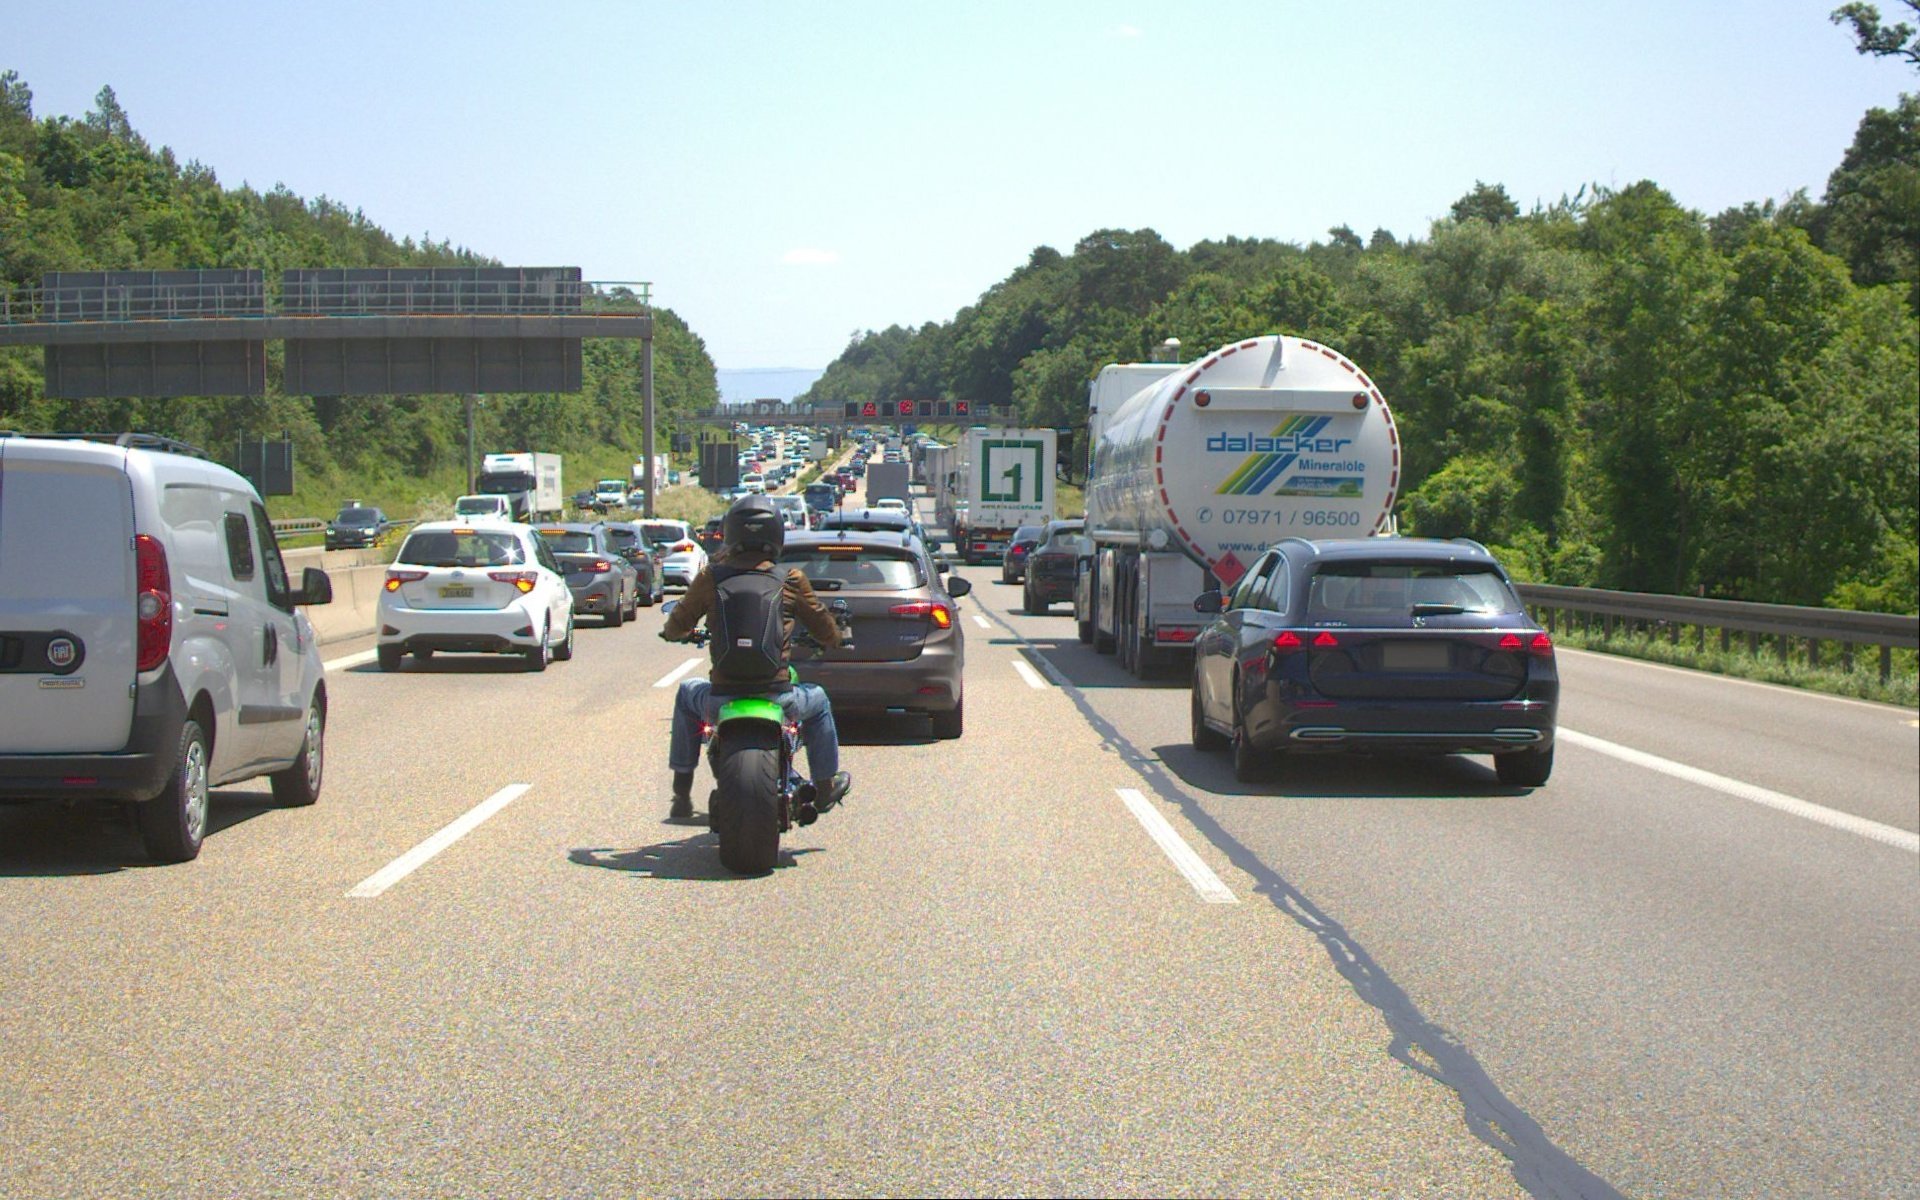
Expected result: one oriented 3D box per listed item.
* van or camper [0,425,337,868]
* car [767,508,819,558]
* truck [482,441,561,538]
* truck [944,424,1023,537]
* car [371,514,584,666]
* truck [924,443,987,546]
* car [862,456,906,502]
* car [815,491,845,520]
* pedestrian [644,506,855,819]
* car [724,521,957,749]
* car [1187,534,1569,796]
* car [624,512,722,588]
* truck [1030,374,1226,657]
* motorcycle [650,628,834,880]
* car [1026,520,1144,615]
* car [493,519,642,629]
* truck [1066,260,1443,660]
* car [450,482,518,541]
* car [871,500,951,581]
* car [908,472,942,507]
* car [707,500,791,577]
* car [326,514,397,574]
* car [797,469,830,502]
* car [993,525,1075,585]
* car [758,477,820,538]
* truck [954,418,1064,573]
[{"bbox_3d":[-4.264,0.184,16.724,1.796,1.886,4.160,0,0,-1],"label":"van or camper"},{"bbox_3d":[-7.211,-2.888,148.722,1.993,2.007,4.000,-2,0,-1],"label":"car"},{"bbox_3d":[-22.098,-5.527,173.774,2.765,4.724,10.472,0,1,-1],"label":"truck"},{"bbox_3d":[0.927,-4.978,144.942,3.033,4.527,9.983,1,1,-1],"label":"truck"},{"bbox_3d":[-4.944,-0.147,35.655,1.699,1.473,4.000,0,1,-1],"label":"car"},{"bbox_3d":[-0.271,-5.395,176.837,3.033,5.122,9.983,1,1,-1],"label":"truck"},{"bbox_3d":[-4.336,-6.925,197.056,2.504,2.578,5.017,0,1,-1],"label":"car"},{"bbox_3d":[-9.027,-6.552,239.528,1.993,2.007,4.000,0,1,-1],"label":"car"},{"bbox_3d":[-0.950,0.271,15.749,0.849,1.357,0.961,-2,1,0],"label":"pedestrian"},{"bbox_3d":[-0.879,0.210,25.608,1.532,1.504,4.000,-2,1,-2],"label":"car"},{"bbox_3d":[2.501,0.328,21.467,1.828,1.465,4.000,0,1,-1],"label":"car"},{"bbox_3d":[-5.753,-1.020,69.261,1.699,1.473,4.000,0,1,-1],"label":"car"},{"bbox_3d":[2.184,-1.089,46.131,1.993,3.510,4.752,-2,0,-3],"label":"truck"},{"bbox_3d":[-0.964,0.662,15.619,0.691,1.012,2.121,0,1,0],"label":"motorcycle"},{"bbox_3d":[2.095,-0.580,58.390,1.787,1.550,3.804,0,1,-1],"label":"car"},{"bbox_3d":[-5.491,-0.396,48.509,1.699,1.473,4.000,0,1,-1],"label":"car"},{"bbox_3d":[2.928,-1.358,37.140,2.988,3.659,9.288,-2,0,-1],"label":"truck"},{"bbox_3d":[-17.845,-3.299,129.012,1.880,2.007,4.468,-3,0,-1],"label":"car"},{"bbox_3d":[-1.288,-1.544,90.909,1.993,2.007,4.000,-2,0,-1],"label":"car"},{"bbox_3d":[-2.211,-6.970,216.795,1.993,2.007,4.000,-2,0,-1],"label":"car"},{"bbox_3d":[-5.173,-1.516,84.709,1.880,1.853,4.000,0,1,-1],"label":"car"},{"bbox_3d":[-21.382,-1.990,122.888,1.827,2.007,3.880,-2,0,-1],"label":"car"},{"bbox_3d":[-9.233,-7.219,217.019,1.993,2.007,4.000,0,1,-1],"label":"car"},{"bbox_3d":[1.727,-1.084,81.543,1.787,1.370,3.804,0,1,-1],"label":"car"},{"bbox_3d":[-6.045,-3.250,121.966,1.929,2.007,4.000,-2,0,0],"label":"car"},{"bbox_3d":[1.422,-3.172,105.683,3.033,4.527,9.983,1,1,-1],"label":"truck"}]
